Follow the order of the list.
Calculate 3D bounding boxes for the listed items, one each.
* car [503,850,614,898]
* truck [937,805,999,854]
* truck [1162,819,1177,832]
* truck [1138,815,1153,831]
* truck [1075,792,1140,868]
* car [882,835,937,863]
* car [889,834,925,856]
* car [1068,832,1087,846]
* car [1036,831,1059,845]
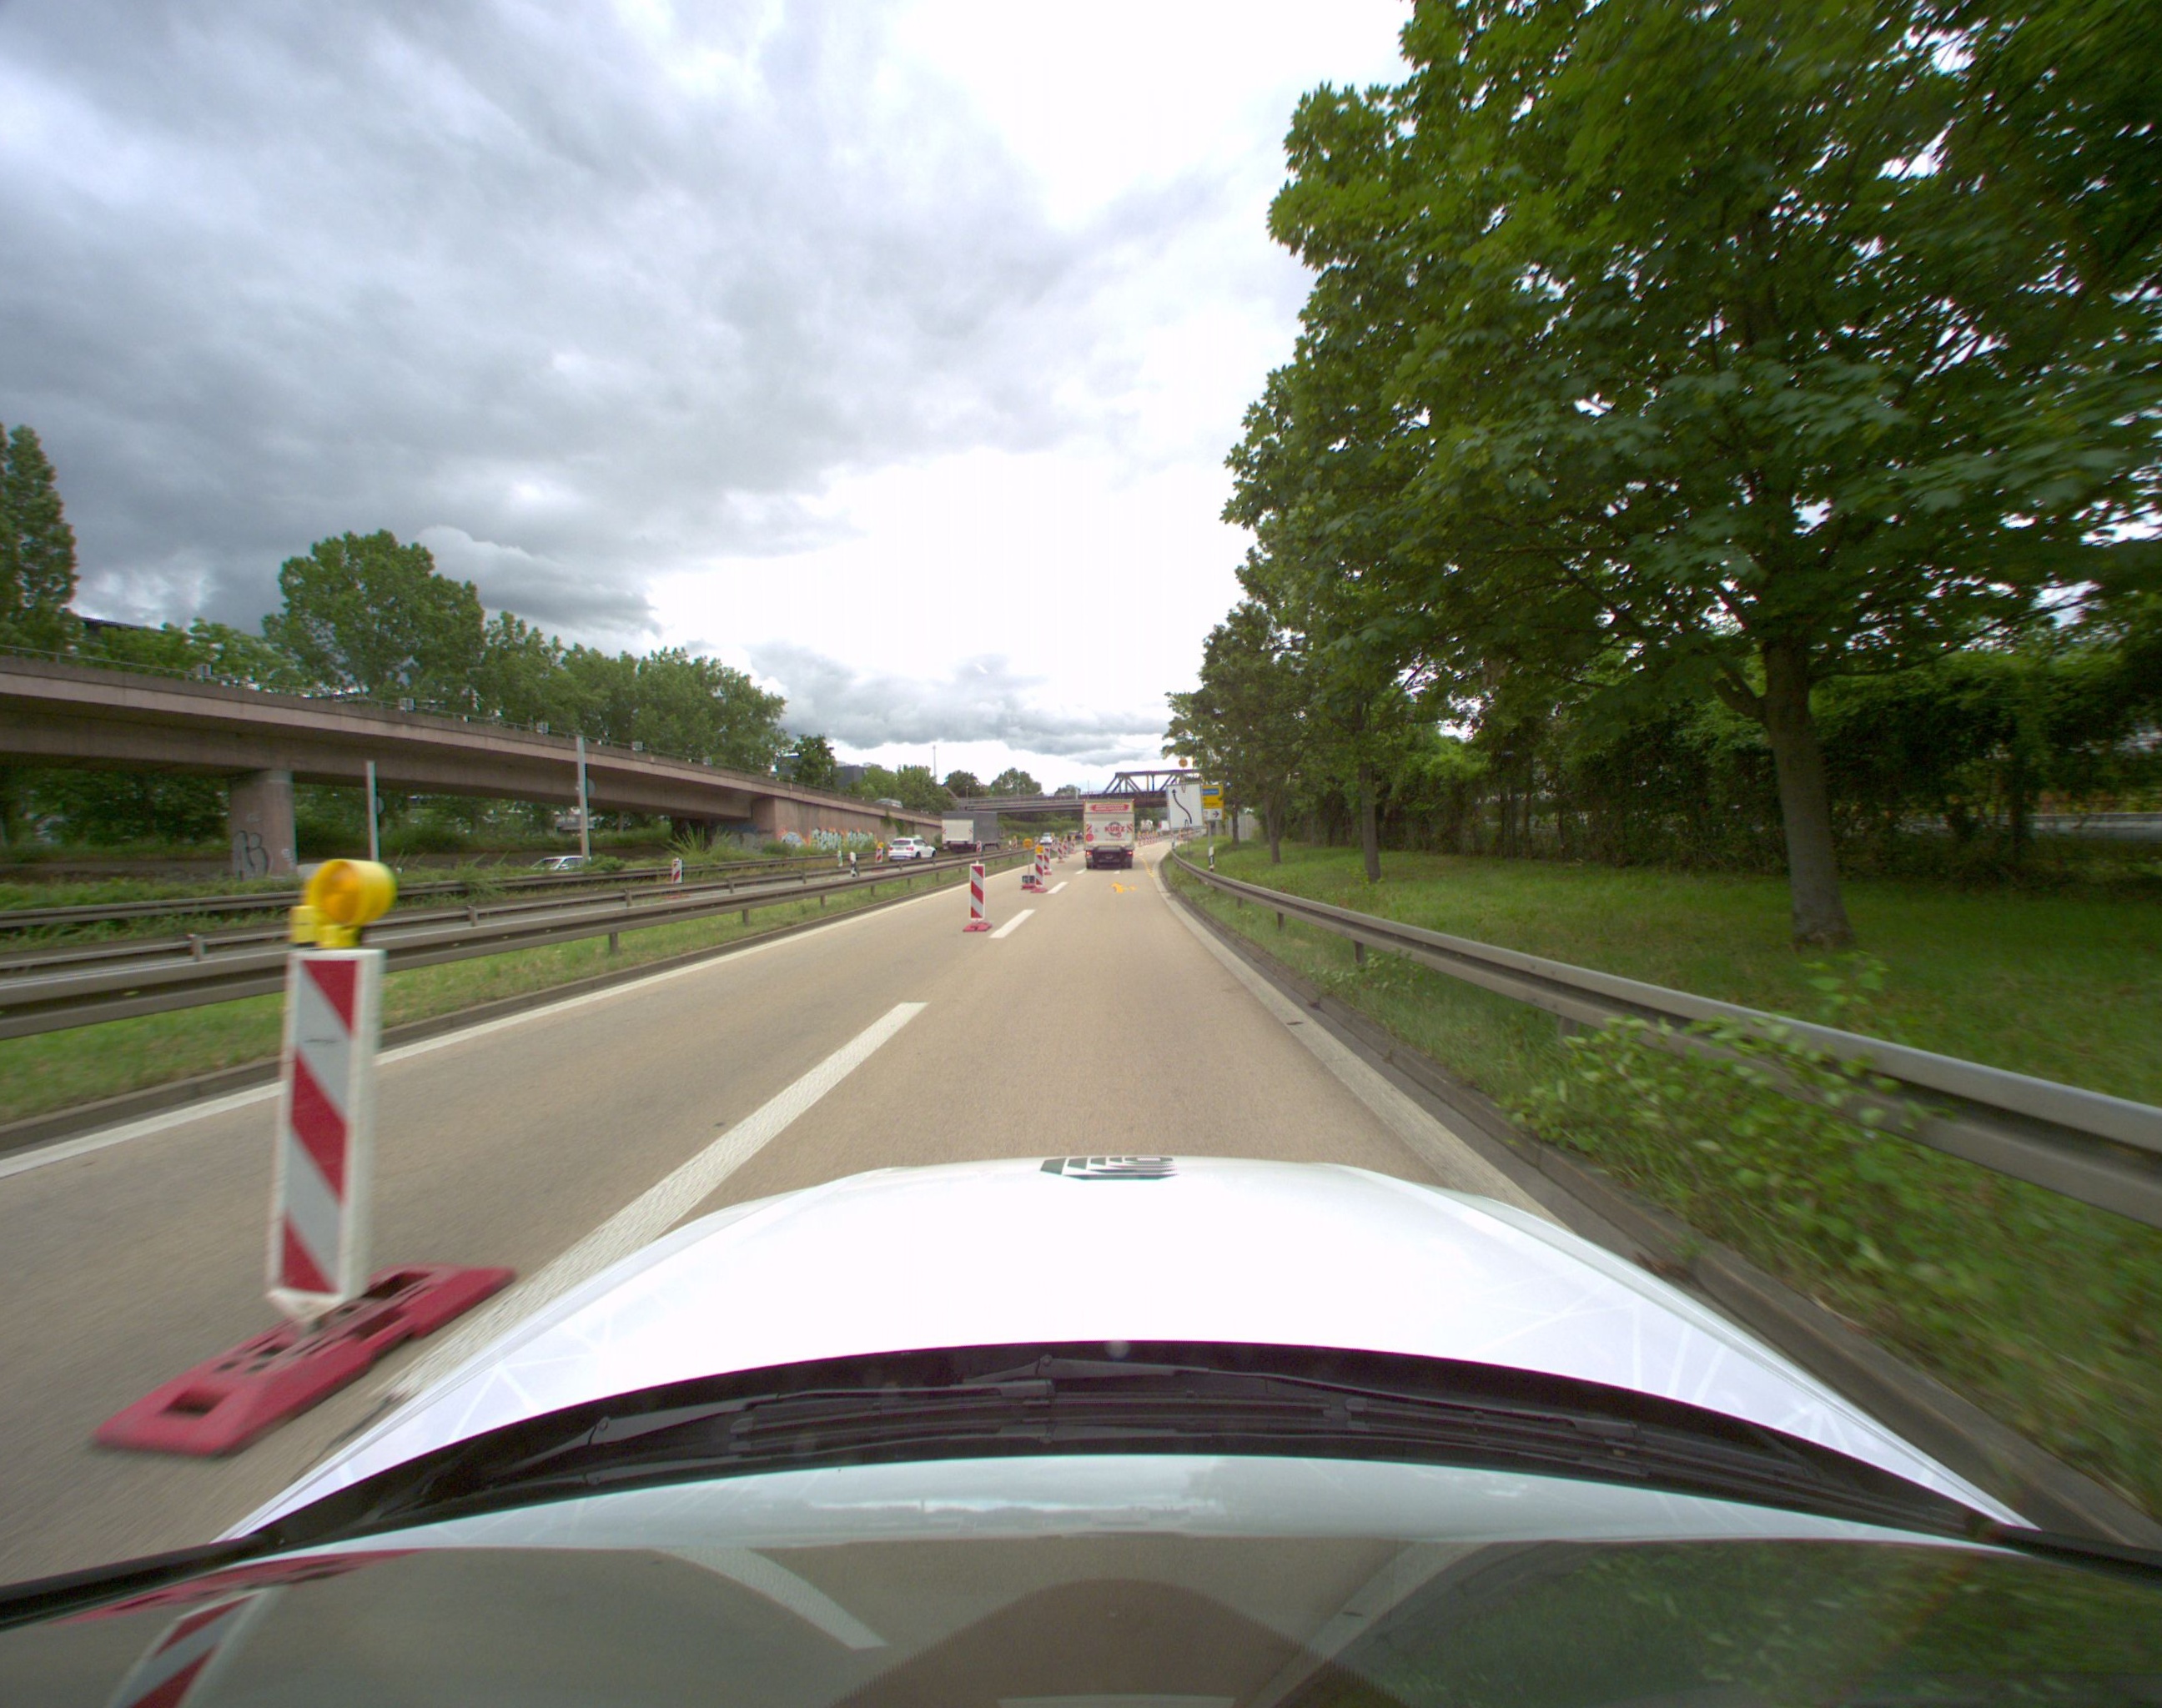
[{"bbox_3d":[-24.177,0.891,37.856,1.979,2.013,4.015,-1,1,14],"label":"car"},{"bbox_3d":[-8.947,-1.943,65.404,3.034,3.656,7.411,-1,1,7],"label":"truck"},{"bbox_3d":[24.473,-7.886,225.052,3.889,3.548,8.153,-1,1,5],"label":"truck"},{"bbox_3d":[16.609,-7.957,209.244,3.269,3.852,7.679,-1,1,6],"label":"truck"},{"bbox_3d":[1.568,-1.243,43.829,3.037,3.672,7.937,-1,1,4],"label":"truck"},{"bbox_3d":[-11.028,-0.349,52.728,1.981,1.712,4.114,-1,1,11],"label":"car"},{"bbox_3d":[-17.239,-0.926,80.996,1.983,2.013,4.718,-1,1,7],"label":"car"},{"bbox_3d":[-0.427,-1.945,105.109,1.983,1.618,4.008,-1,1,6],"label":"car"},{"bbox_3d":[-3.921,-1.898,95.925,1.983,1.618,4.008,-1,1,6],"label":"car"}]
